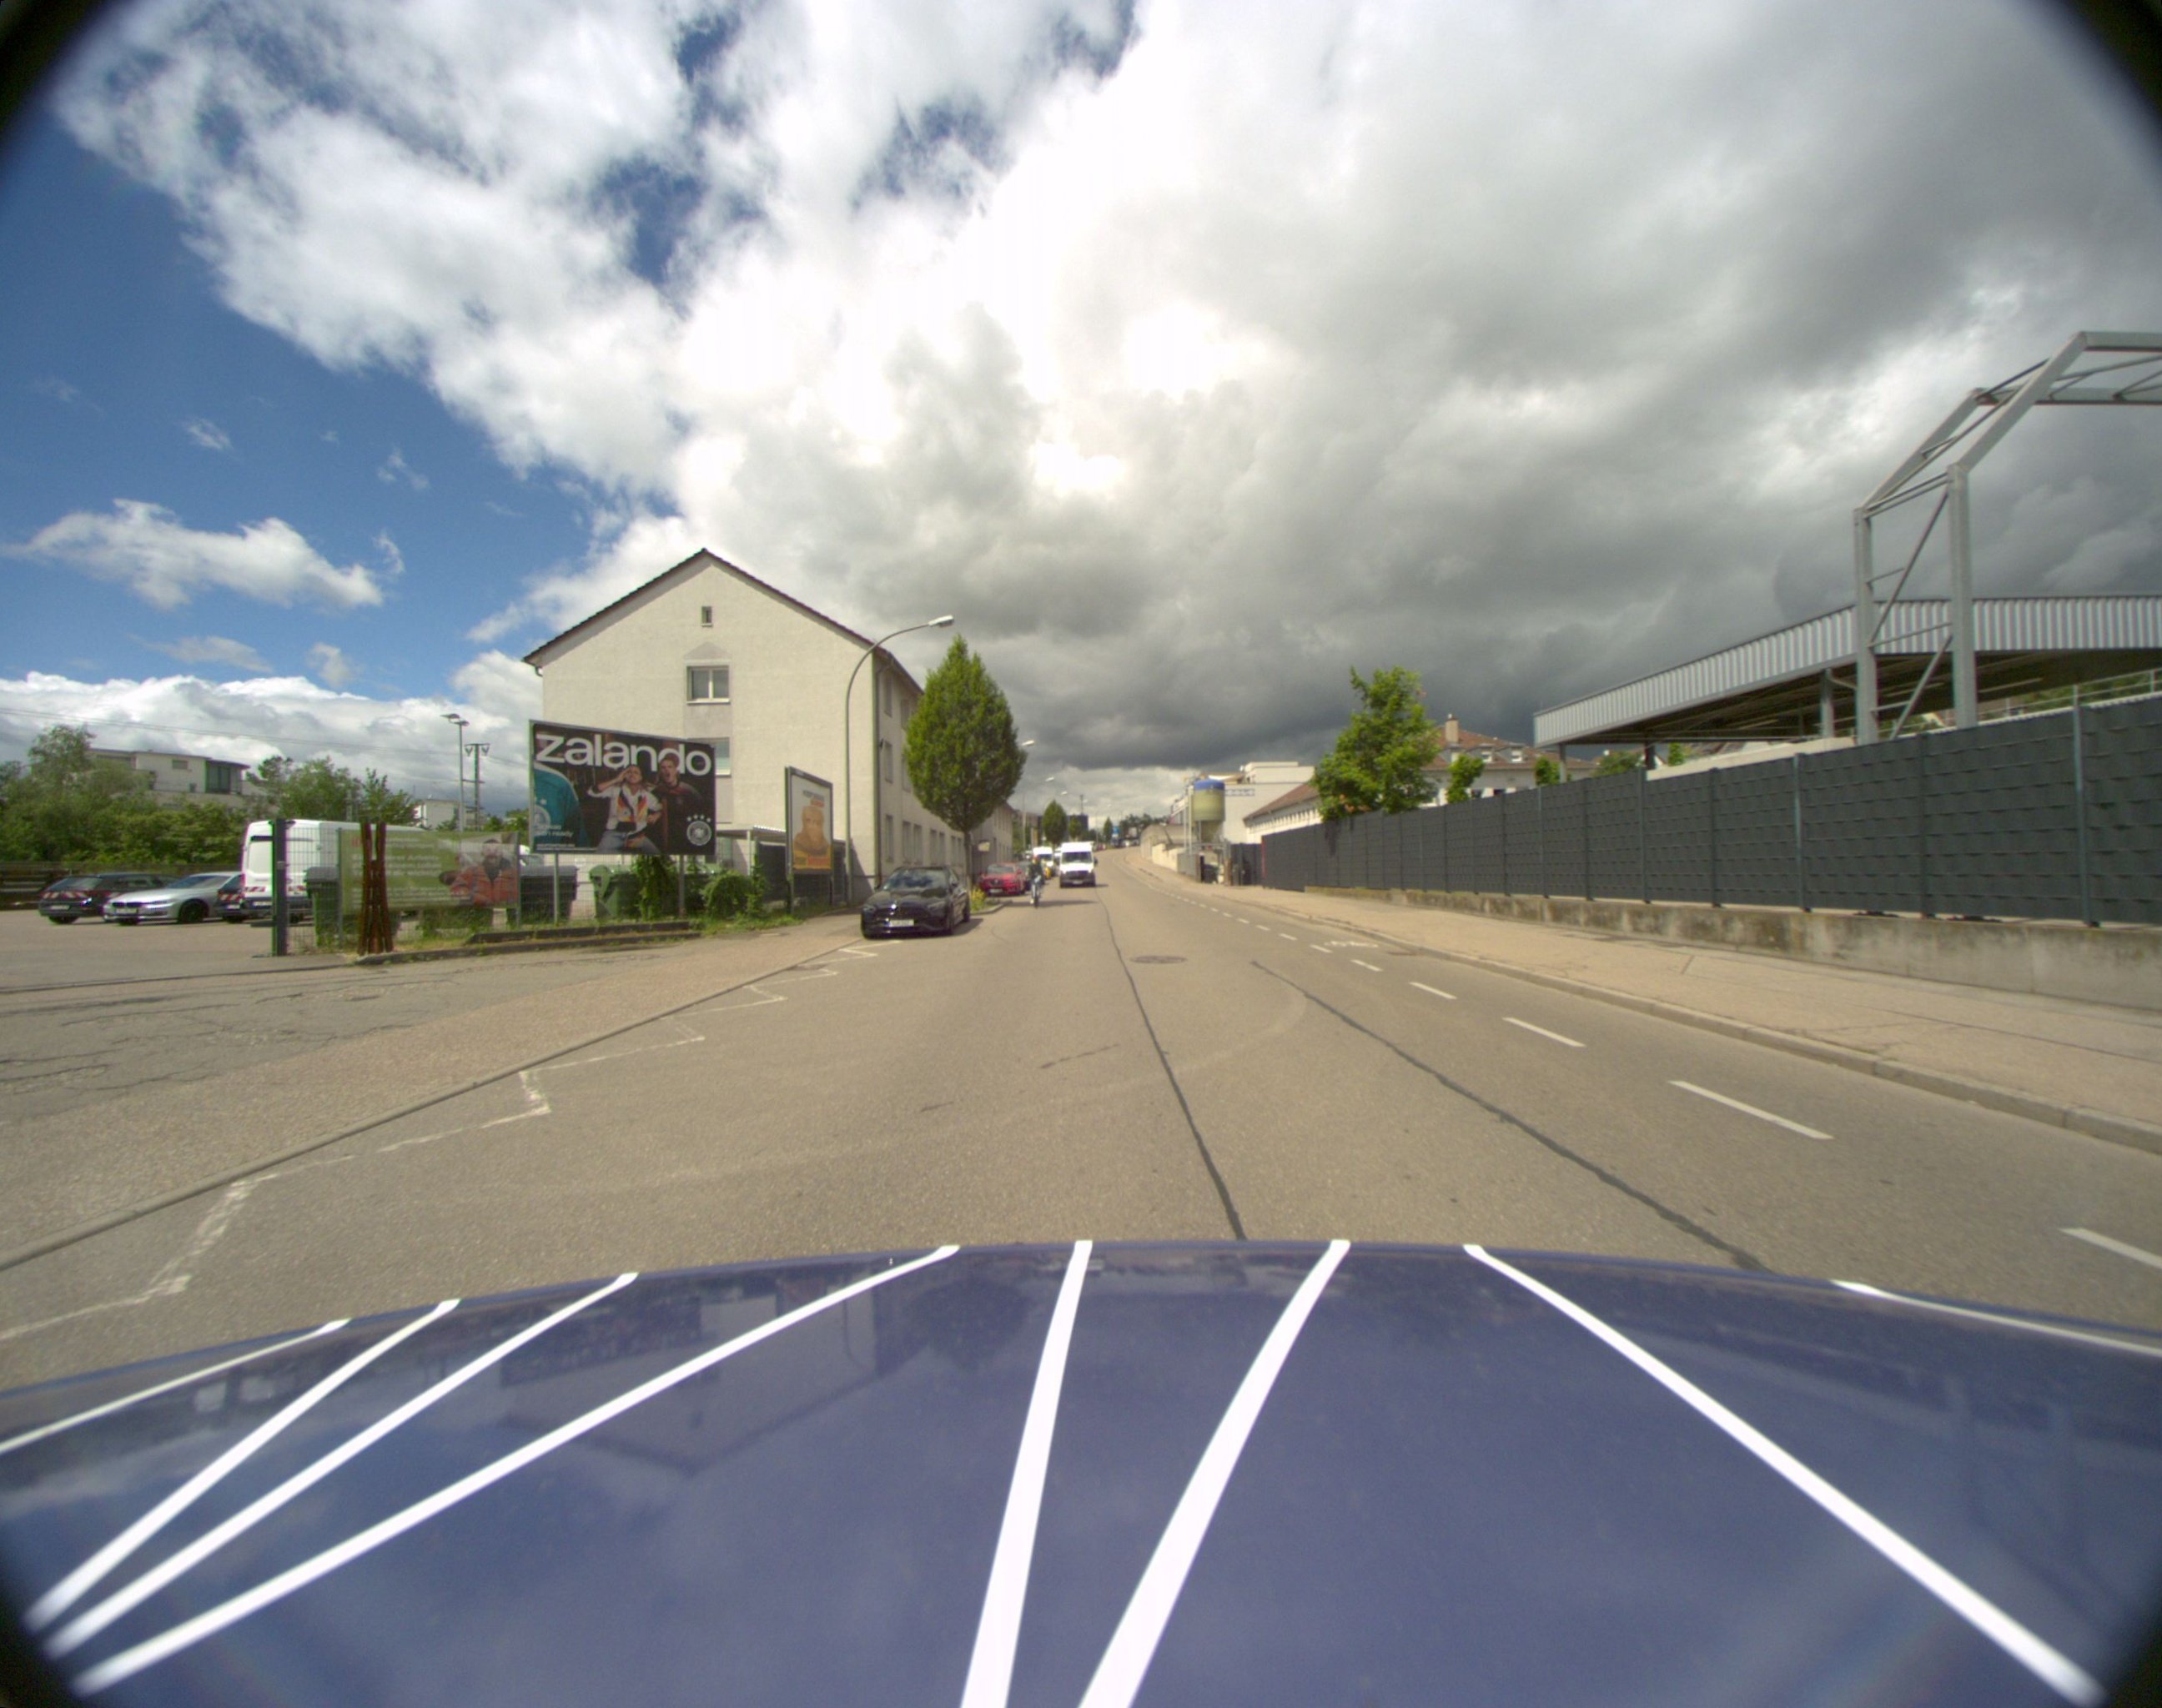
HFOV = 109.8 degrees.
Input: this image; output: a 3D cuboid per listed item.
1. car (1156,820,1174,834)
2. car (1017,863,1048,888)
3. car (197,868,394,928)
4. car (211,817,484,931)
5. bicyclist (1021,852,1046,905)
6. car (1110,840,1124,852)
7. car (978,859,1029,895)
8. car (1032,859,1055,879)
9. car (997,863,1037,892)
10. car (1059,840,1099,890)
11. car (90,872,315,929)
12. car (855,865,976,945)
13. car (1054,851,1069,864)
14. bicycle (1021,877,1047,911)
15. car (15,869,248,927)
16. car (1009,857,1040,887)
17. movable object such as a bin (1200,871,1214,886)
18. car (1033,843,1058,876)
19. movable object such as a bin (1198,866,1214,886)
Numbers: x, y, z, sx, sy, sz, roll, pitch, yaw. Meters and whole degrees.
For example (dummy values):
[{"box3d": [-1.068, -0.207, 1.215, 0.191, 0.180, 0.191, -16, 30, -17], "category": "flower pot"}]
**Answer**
[{"box3d": [10.124, -3.219, 92.263, 1.810, 1.627, 4.103, -1, 2, 2], "category": "car"}, {"box3d": [-3.243, 1.447, 51.525, 1.709, 1.501, 5.087, -3, -1, -1], "category": "car"}, {"box3d": [-22.543, 1.202, 22.052, 1.629, 1.382, 3.868, -1, 2, 1], "category": "car"}, {"box3d": [-20.151, 0.417, 21.392, 2.282, 2.752, 5.453, -1, 2, -1], "category": "car"}, {"box3d": [-1.494, 0.772, 23.932, 0.741, 1.617, 0.731, -1, 2, -2], "category": "bicyclist"}, {"box3d": [8.479, -1.882, 177.240, 2.057, 2.579, 5.739, -1, 2, 15], "category": "car"}, {"box3d": [-3.324, 0.983, 33.398, 1.739, 1.463, 4.262, -2, -1, 1], "category": "car"}, {"box3d": [-3.038, 1.192, 61.635, 1.596, 1.439, 3.790, -1, 1, 1], "category": "car"}, {"box3d": [-3.318, 1.208, 40.356, 1.739, 1.415, 4.860, -2, -1, -1], "category": "car"}, {"box3d": [-0.034, 0.555, 44.304, 2.082, 2.576, 6.061, -1, 2, 2], "category": "car"}, {"box3d": [-25.068, 1.265, 21.940, 1.751, 1.280, 3.999, -1, 2, 1], "category": "car"}, {"box3d": [-3.597, 1.035, 17.363, 1.796, 1.457, 4.707, -1, 0, -1], "category": "car"}, {"box3d": [-2.682, 0.472, 105.204, 1.846, 1.556, 4.465, 1, 2, 2], "category": "car"}, {"box3d": [-1.480, 1.235, 23.983, 0.742, 0.969, 1.732, -1, 0, -2], "category": "bicycle"}, {"box3d": [-27.891, 1.240, 22.575, 1.812, 1.355, 3.999, -1, 2, 1], "category": "car"}, {"box3d": [-3.367, 1.086, 45.942, 1.681, 1.628, 4.795, -3, -1, -3], "category": "car"}, {"box3d": [9.141, 1.783, 55.122, 0.874, 1.044, 0.741, 1, 0, 4], "category": "movable object such as a bin"}, {"box3d": [-3.117, 0.394, 68.257, 2.038, 2.627, 7.280, -1, 2, -1], "category": "car"}, {"box3d": [9.204, 1.621, 56.096, 0.993, 1.384, 1.216, 1, 0, 2], "category": "movable object such as a bin"}]
